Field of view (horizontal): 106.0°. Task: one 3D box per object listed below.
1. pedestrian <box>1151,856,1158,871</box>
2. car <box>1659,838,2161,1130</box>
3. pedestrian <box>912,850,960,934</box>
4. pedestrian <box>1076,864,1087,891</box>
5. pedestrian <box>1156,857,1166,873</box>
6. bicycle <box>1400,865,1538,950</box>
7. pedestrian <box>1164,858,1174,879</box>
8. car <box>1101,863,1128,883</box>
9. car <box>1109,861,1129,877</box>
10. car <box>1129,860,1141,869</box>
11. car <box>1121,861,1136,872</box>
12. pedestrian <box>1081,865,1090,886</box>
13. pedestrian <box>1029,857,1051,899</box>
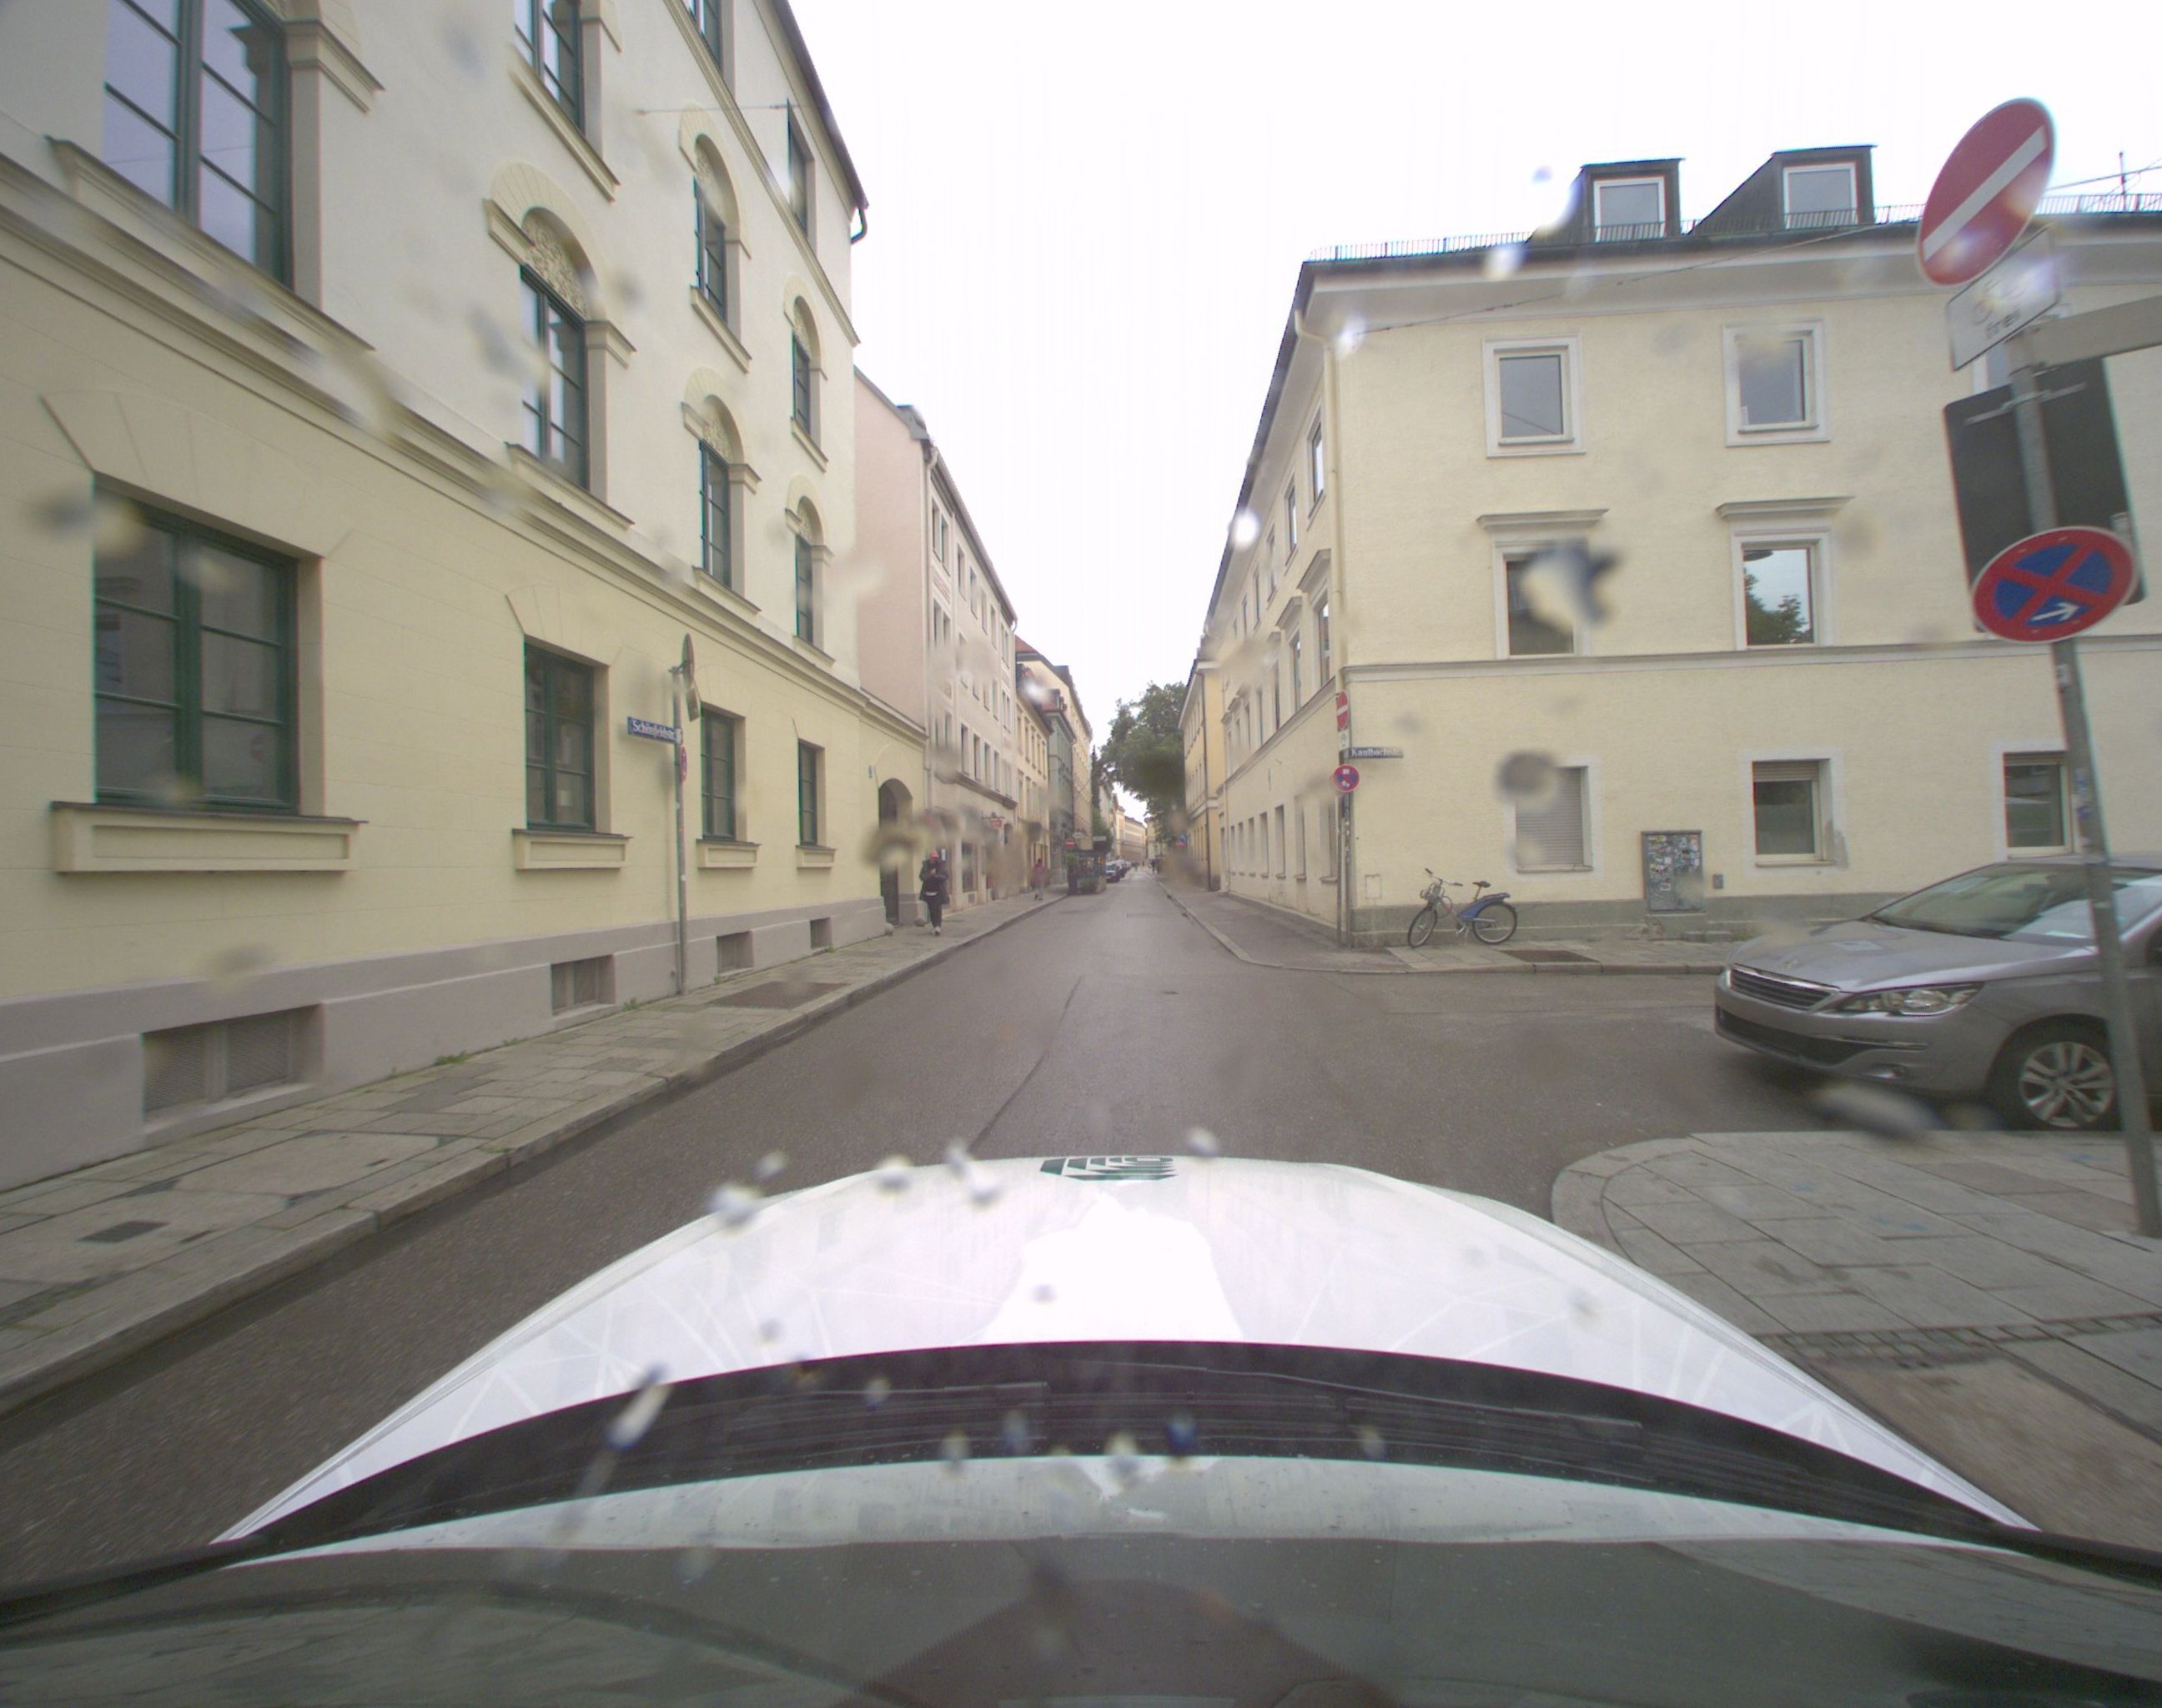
[{"bbox_3d":[8.887,1.183,98.338,0.790,1.802,0.904,-1,-1,5],"label":"pedestrian"},{"bbox_3d":[6.183,0.656,4.974,3.995,1.440,1.767,-1,1,5],"label":"car"},{"bbox_3d":[-3.147,0.807,17.748,0.806,1.755,0.990,-1,1,2],"label":"pedestrian"},{"bbox_3d":[0.008,1.176,40.960,0.508,1.327,0.631,-1,-1,2],"label":"pedestrian"},{"bbox_3d":[9.006,1.222,91.844,1.011,1.802,1.351,-1,-1,5],"label":"pedestrian"},{"bbox_3d":[5.776,0.788,12.170,1.749,1.144,0.587,-2,2,4],"label":"bicycle"},{"bbox_3d":[7.642,1.264,70.837,0.876,1.802,1.047,-1,-1,5],"label":"pedestrian"},{"bbox_3d":[2.604,1.414,62.368,1.770,1.466,3.669,-1,-1,7],"label":"car"},{"bbox_3d":[3.822,1.502,81.990,1.770,1.466,3.548,-1,-1,7],"label":"car"},{"bbox_3d":[9.249,1.717,138.974,1.770,1.466,3.548,-1,-1,7],"label":"car"},{"bbox_3d":[6.544,1.741,111.637,1.770,1.466,3.548,-1,-1,7],"label":"car"},{"bbox_3d":[0.276,1.289,48.385,0.508,1.237,0.631,-1,-1,2],"label":"pedestrian"},{"bbox_3d":[-1.710,0.978,34.031,0.763,1.708,0.785,-2,-1,1],"label":"pedestrian"}]
